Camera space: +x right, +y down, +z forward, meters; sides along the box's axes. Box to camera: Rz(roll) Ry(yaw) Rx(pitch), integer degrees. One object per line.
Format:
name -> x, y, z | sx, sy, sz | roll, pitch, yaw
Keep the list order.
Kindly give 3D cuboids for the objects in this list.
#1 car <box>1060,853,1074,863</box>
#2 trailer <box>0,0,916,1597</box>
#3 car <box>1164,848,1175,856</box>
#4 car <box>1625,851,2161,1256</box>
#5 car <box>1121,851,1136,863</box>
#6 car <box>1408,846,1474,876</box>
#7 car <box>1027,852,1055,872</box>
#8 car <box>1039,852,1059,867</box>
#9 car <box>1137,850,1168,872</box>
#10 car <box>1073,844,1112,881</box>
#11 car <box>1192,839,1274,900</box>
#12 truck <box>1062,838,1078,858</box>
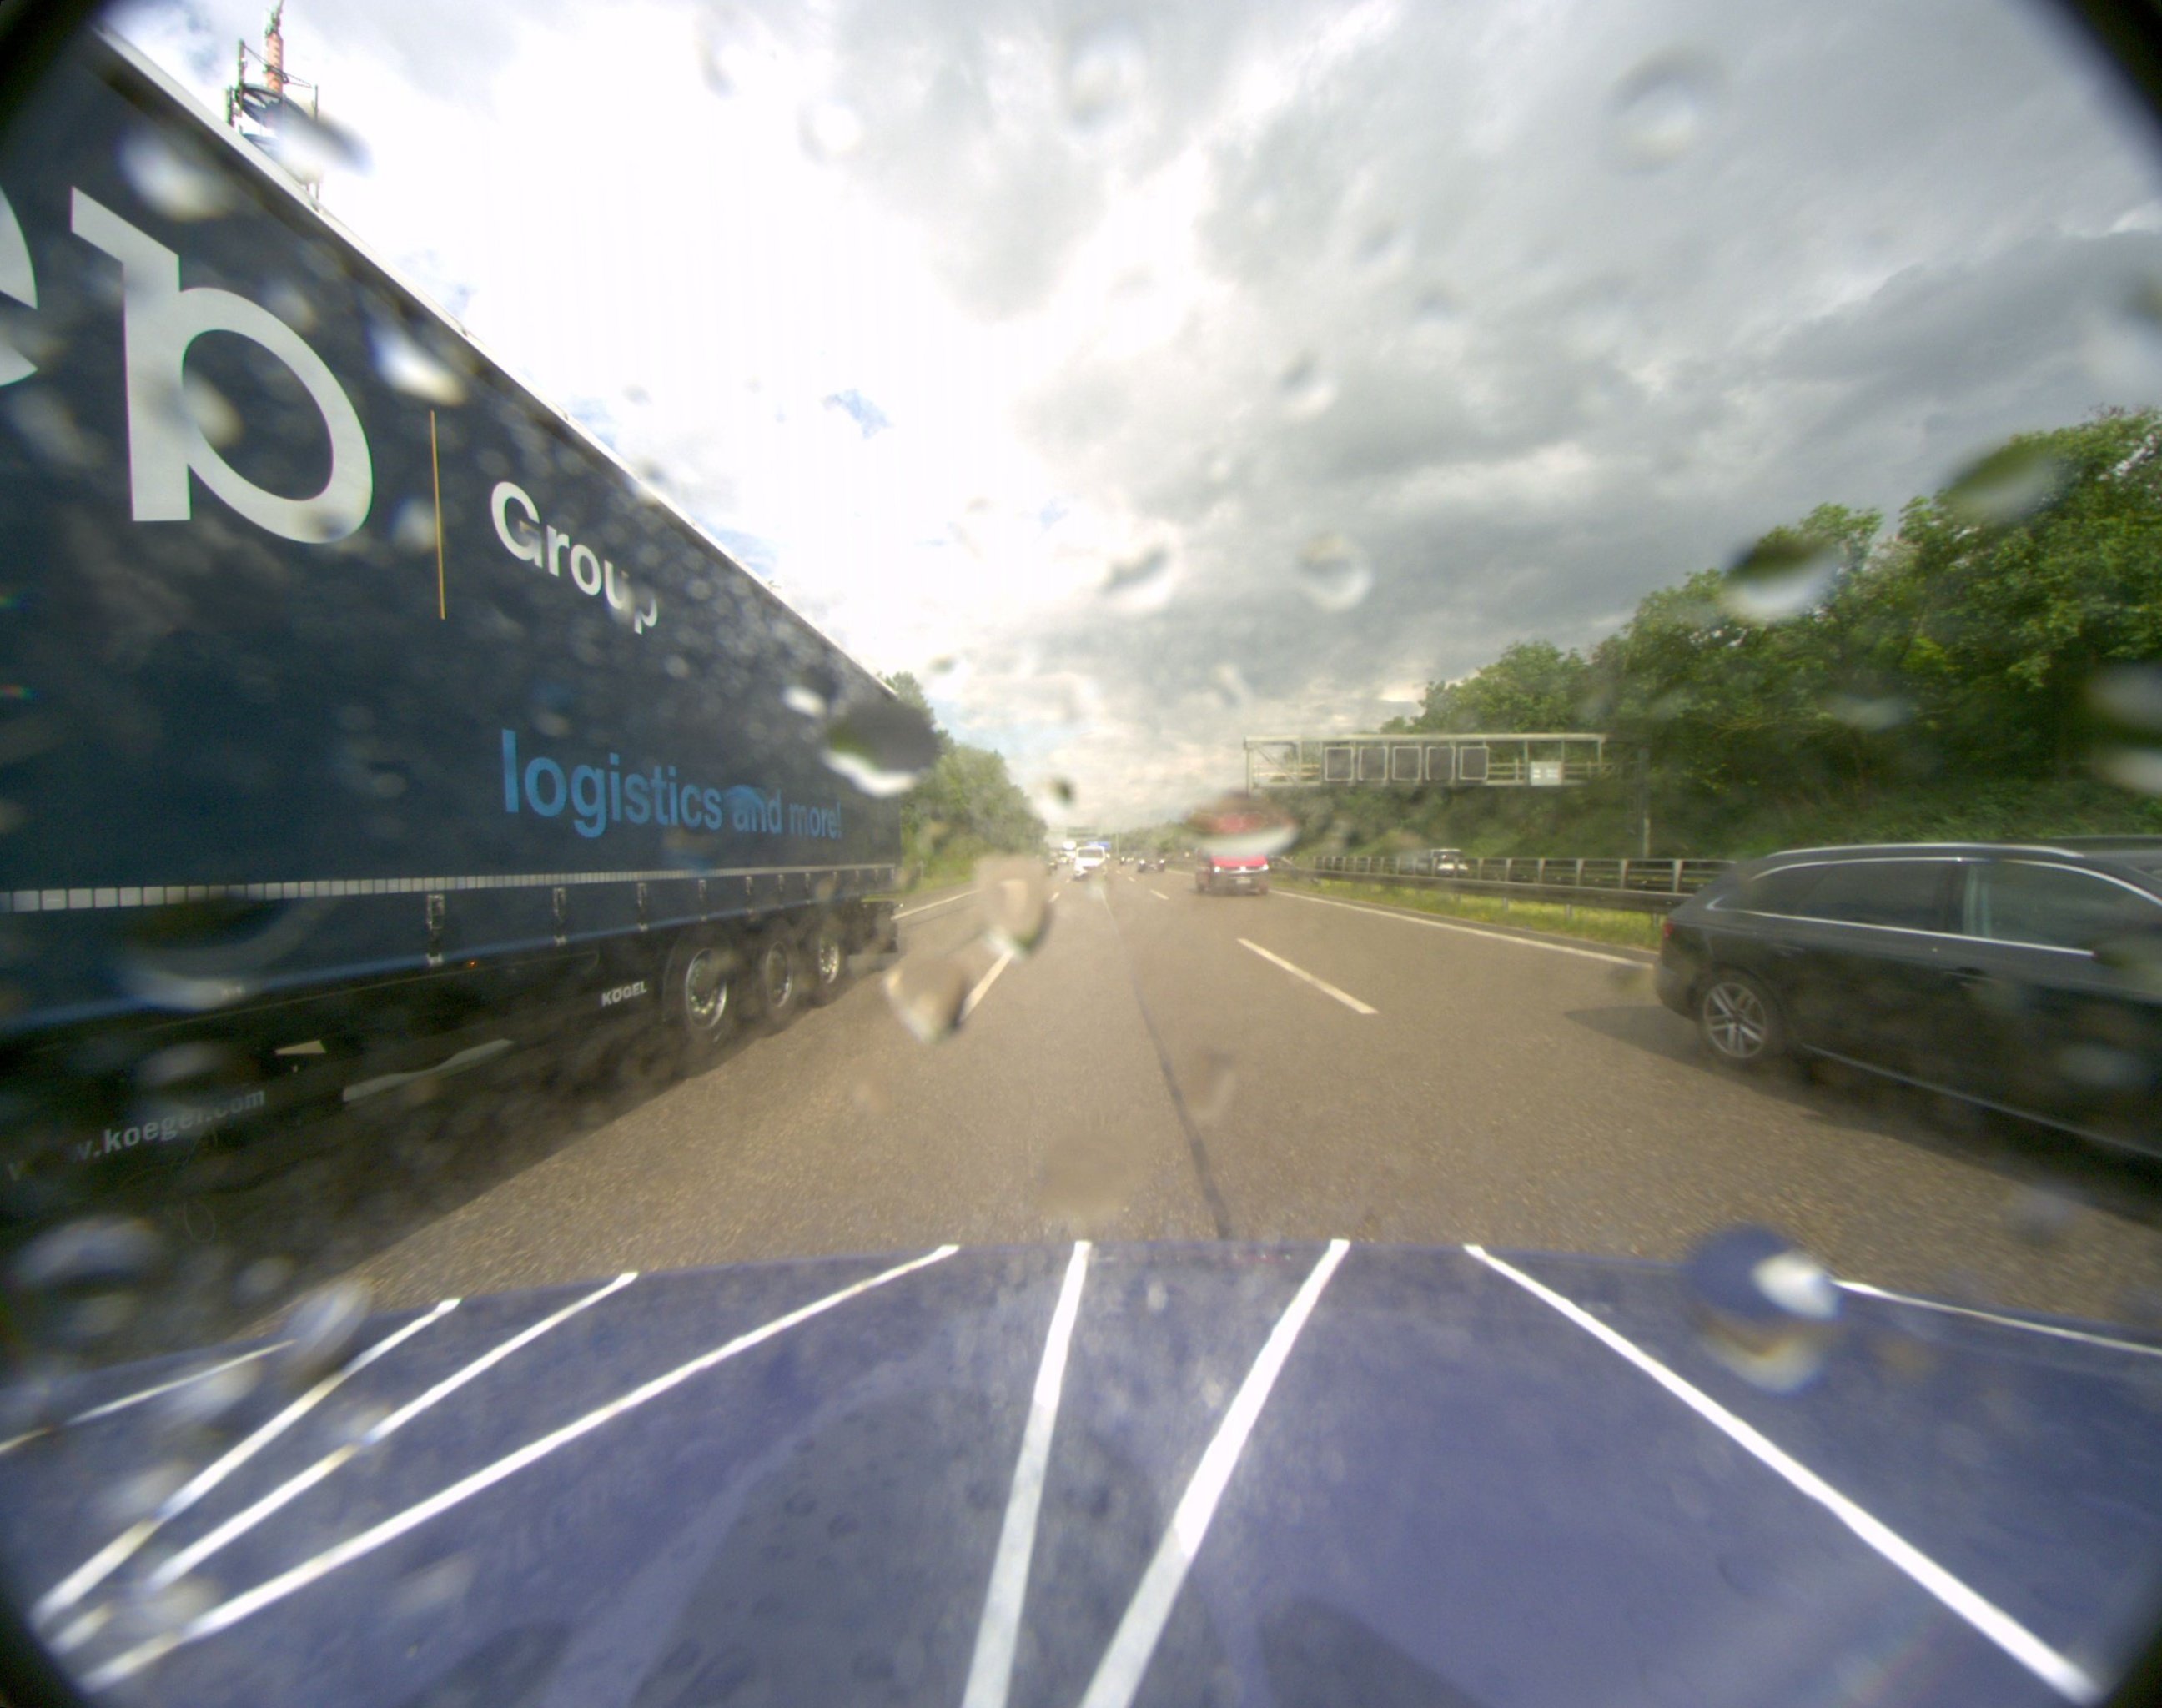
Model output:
car -> -2.160, 0.620, 117.252 | 1.798, 1.410, 4.839 | -2, 1, 1
trailer -> -3.914, -0.202, 4.055 | 2.641, 3.972, 14.063 | -2, 1, 1
car -> 18.945, -0.475, 162.738 | 1.859, 1.653, 4.236 | -2, 1, 0
car -> 4.874, 0.742, 3.167 | 1.798, 1.410, 4.839 | -2, 1, 1
car -> 6.213, 0.398, 99.495 | 1.798, 1.410, 4.839 | -2, 1, 1
car -> 22.070, 0.390, 46.799 | 1.833, 1.653, 4.630 | -2, 1, 0
car -> -3.092, 0.603, 60.106 | 1.798, 1.410, 4.839 | -2, 1, 1
car -> -3.457, 0.586, 83.595 | 1.798, 1.410, 4.839 | -2, 1, 1
car -> 5.518, 0.521, 59.024 | 2.009, 1.488, 4.839 | -2, 1, 1
car -> 0.735, 0.461, 45.614 | 2.124, 1.988, 5.982 | -2, 1, 1
car -> 5.152, 0.465, 26.461 | 1.926, 1.855, 4.839 | -2, 1, 1
truck -> -2.176, -1.209, 154.985 | 3.064, 3.827, 8.799 | -1, 0, 0
